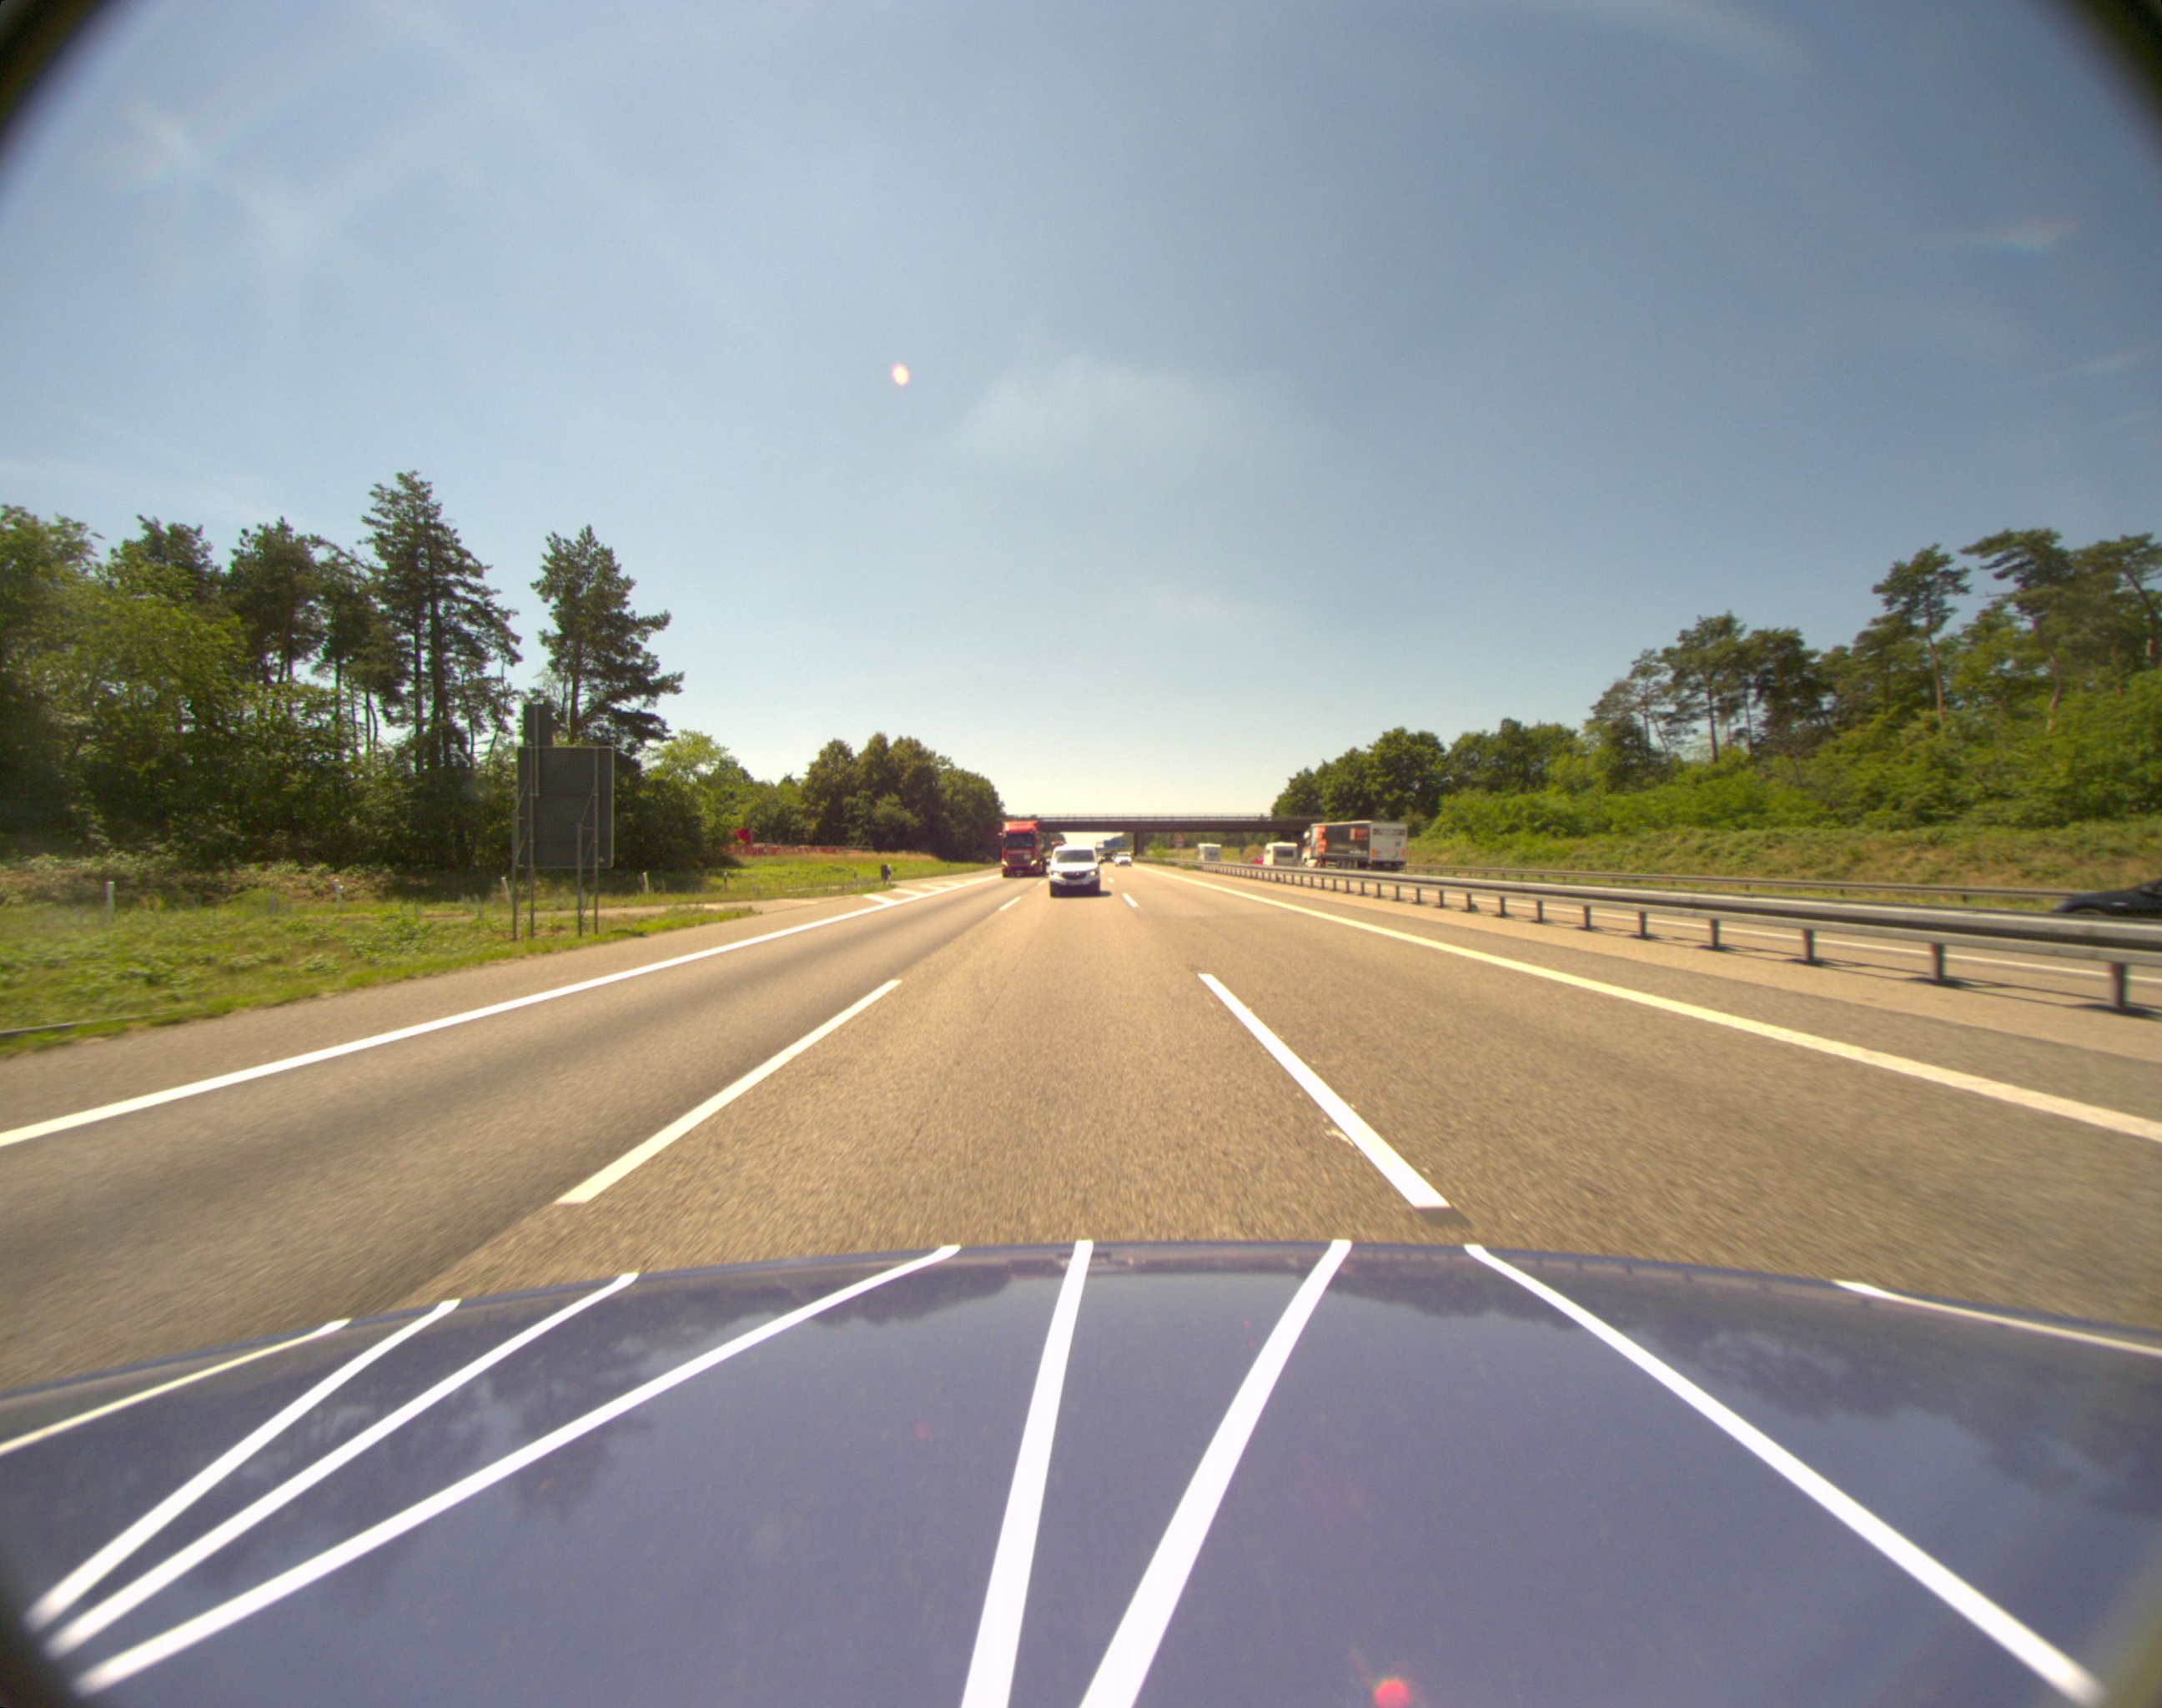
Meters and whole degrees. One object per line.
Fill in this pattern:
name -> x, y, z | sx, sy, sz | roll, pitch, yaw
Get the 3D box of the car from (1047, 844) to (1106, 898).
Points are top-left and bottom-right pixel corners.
car -> -0.072, 0.577, 28.471 | 1.870, 1.807, 4.941 | -2, 0, 3

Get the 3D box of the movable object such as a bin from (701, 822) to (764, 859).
movable object such as a bin -> -43.179, -1.665, 94.252 | 5.921, 4.285, 3.817 | -2, 1, 10

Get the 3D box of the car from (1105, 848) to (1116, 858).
car -> 4.578, -0.120, 118.392 | 1.581, 1.411, 3.353 | -2, -2, 0

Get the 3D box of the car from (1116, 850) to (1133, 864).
car -> 4.532, 0.326, 79.492 | 1.581, 1.411, 3.353 | -2, -1, 0

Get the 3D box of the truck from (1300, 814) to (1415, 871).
truck -> 21.723, -0.893, 61.463 | 3.334, 3.973, 16.865 | 0, 1, 1

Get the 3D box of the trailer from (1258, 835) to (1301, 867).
trailer -> 17.675, -0.257, 67.919 | 2.483, 2.732, 5.074 | 2, 0, 0

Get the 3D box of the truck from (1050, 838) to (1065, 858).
truck -> -4.303, -1.095, 141.512 | 2.535, 3.712, 6.098 | -2, 0, 0

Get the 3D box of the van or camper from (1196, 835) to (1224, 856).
van or camper -> 18.036, -1.155, 106.835 | 2.508, 2.794, 8.560 | 0, 1, 0

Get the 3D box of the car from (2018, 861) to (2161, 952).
car -> 17.675, 0.851, 10.963 | 2.233, 1.372, 4.890 | 2, 0, 0

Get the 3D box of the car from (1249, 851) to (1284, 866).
car -> 17.726, 0.401, 72.797 | 2.233, 1.372, 4.691 | 2, 0, 0

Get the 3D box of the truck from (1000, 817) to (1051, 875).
truck -> -3.950, -0.539, 56.799 | 2.687, 3.776, 12.477 | -2, 0, 0

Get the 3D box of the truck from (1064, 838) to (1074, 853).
truck -> -3.270, -2.202, 207.151 | 2.603, 3.979, 6.173 | -2, 0, 0
